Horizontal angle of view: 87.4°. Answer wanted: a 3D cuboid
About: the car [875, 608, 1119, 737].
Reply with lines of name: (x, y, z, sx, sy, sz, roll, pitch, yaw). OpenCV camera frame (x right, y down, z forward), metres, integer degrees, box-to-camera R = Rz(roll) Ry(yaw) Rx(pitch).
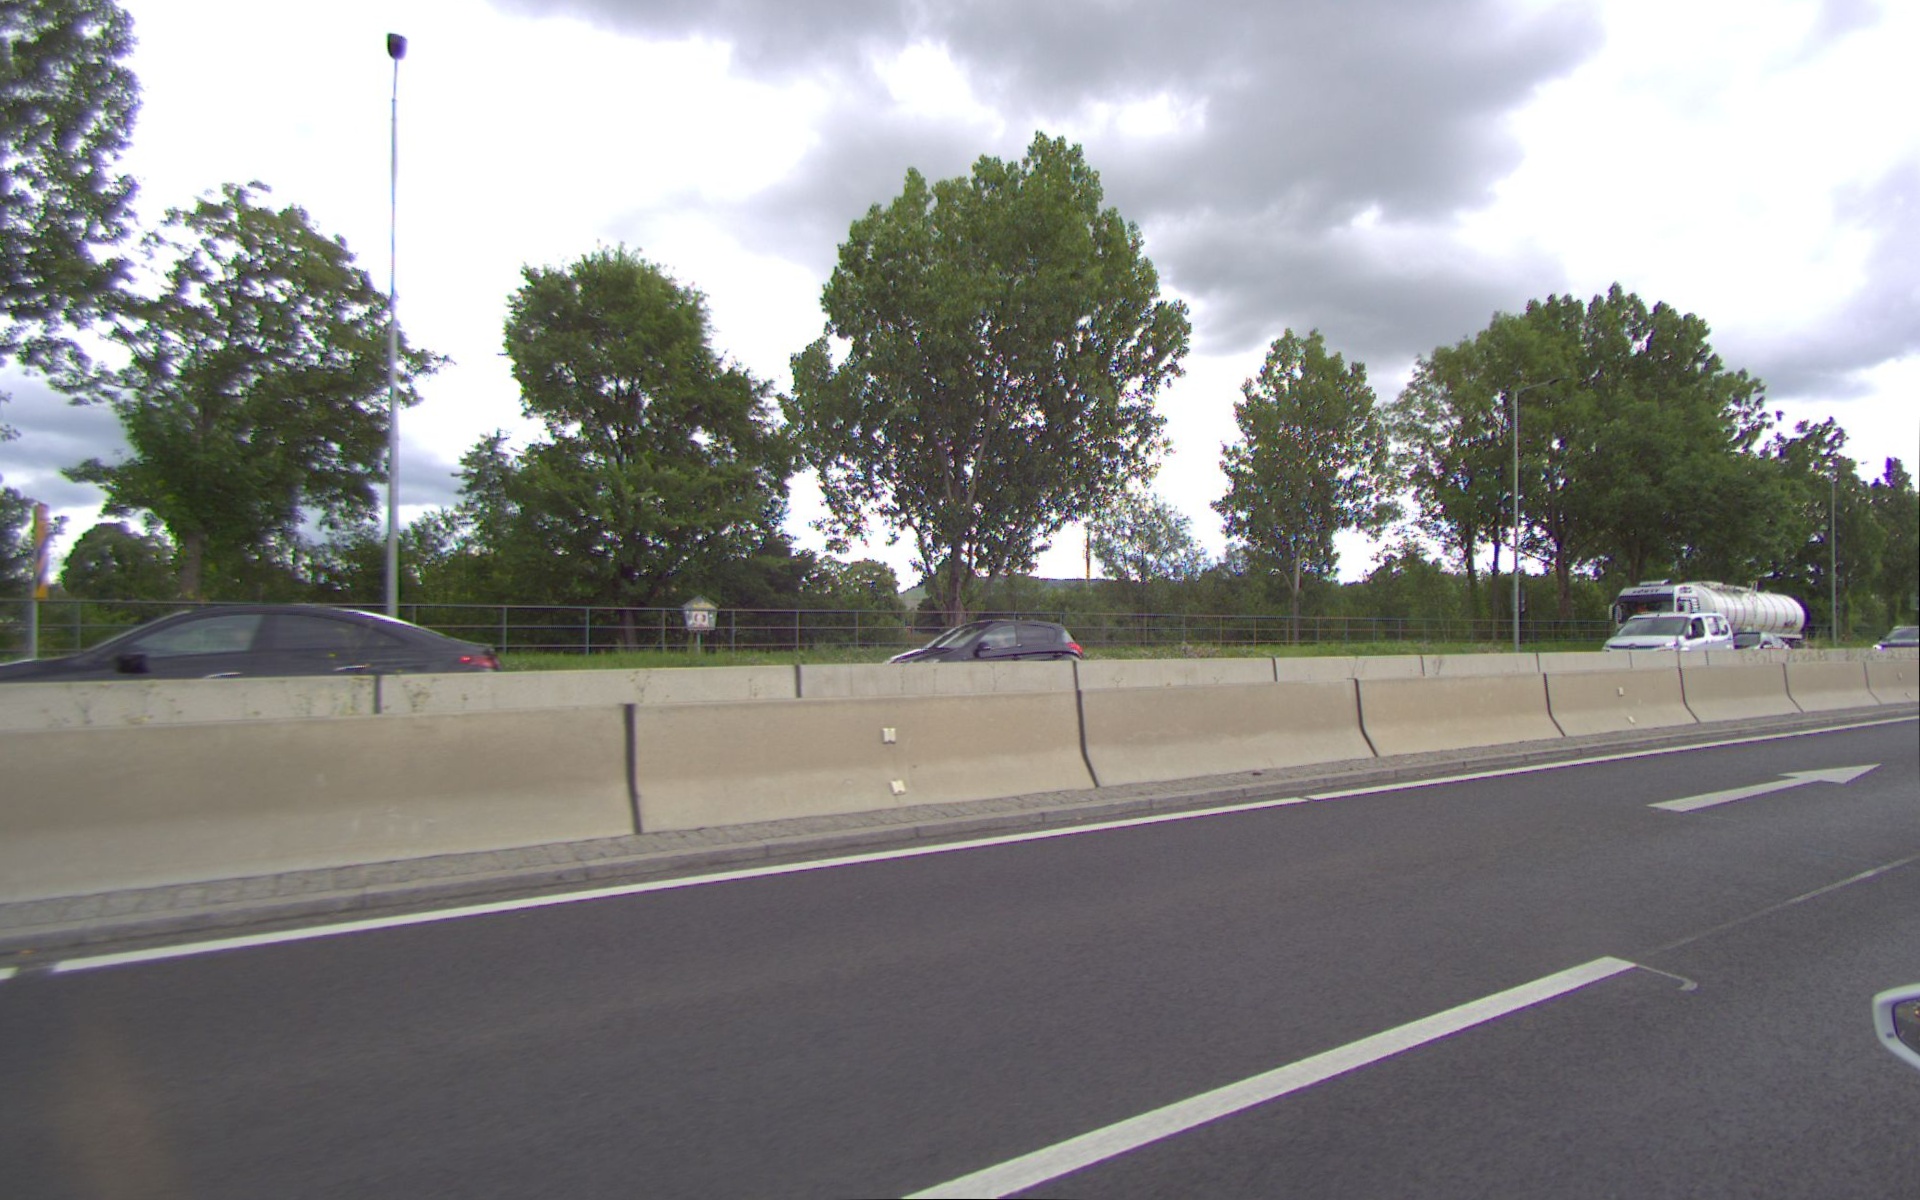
car: (0.687, 1.200, 18.101, 3.956, 2.041, 1.982, 1, 1, -32)

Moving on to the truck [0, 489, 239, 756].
truck: (-16.878, 0.168, 9.884, 15.715, 3.149, 2.837, 1, 1, -33)

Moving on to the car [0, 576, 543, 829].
car: (-6.185, 0.787, 9.431, 3.955, 1.929, 1.806, 1, 1, -32)

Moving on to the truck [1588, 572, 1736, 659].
truck: (28.322, 0.581, 40.499, 5.334, 3.262, 3.079, 1, 1, -33)

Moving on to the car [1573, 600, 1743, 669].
car: (18.402, 0.870, 26.436, 4.644, 1.639, 1.983, 1, 1, -32)

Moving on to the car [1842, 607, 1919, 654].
car: (35.783, 1.129, 38.288, 4.644, 1.639, 1.983, 1, 1, -32)

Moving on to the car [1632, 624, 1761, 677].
car: (25.313, 1.689, 34.502, 4.644, 1.639, 1.983, 1, 1, -32)

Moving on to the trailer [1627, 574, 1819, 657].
trailer: (33.657, 0.661, 44.075, 11.545, 3.263, 3.081, 1, 1, -34)
